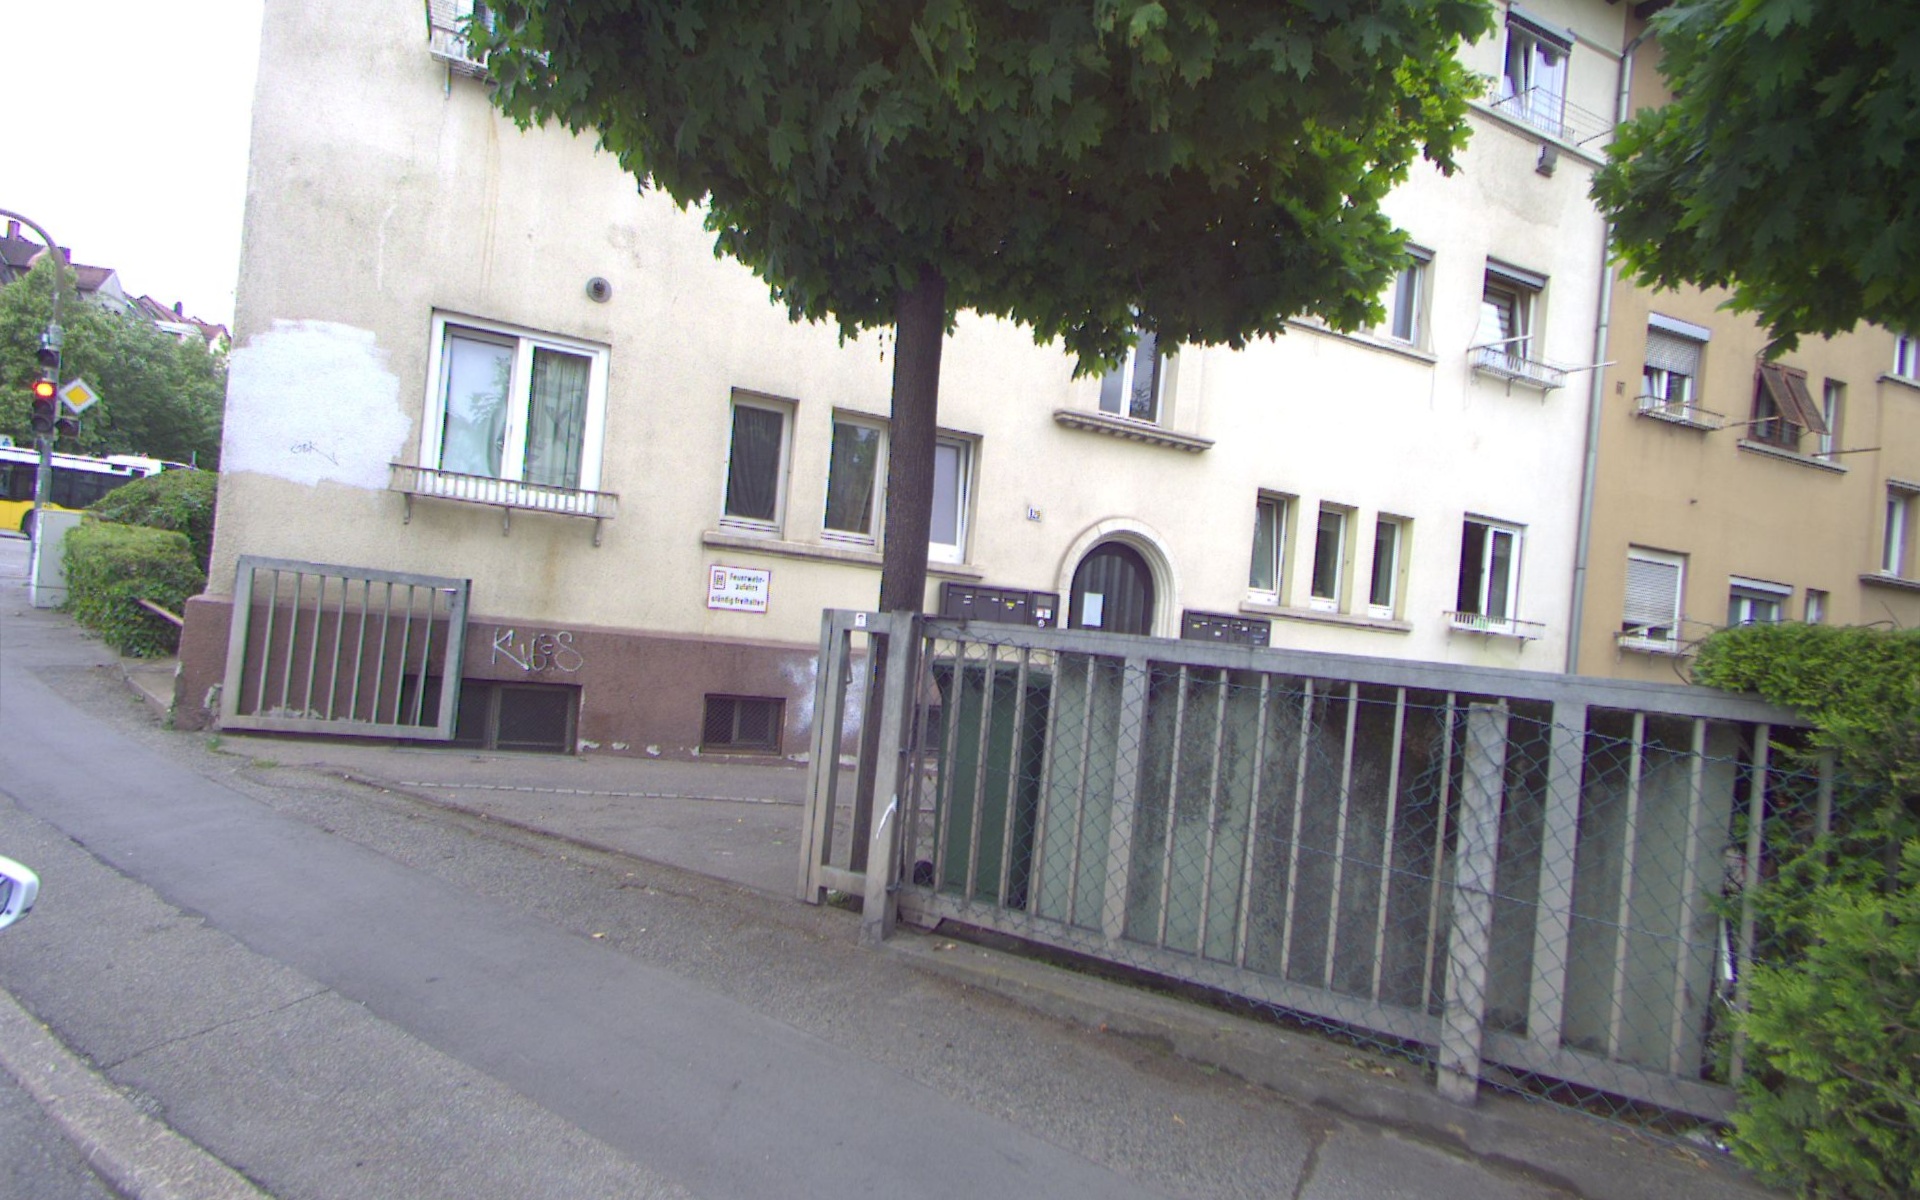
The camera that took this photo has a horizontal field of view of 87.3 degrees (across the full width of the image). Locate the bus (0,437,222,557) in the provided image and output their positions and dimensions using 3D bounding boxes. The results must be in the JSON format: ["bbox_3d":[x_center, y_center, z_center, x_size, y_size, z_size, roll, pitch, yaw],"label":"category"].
[{"bbox_3d":[-31.811,-3.729,33.153,11.935,3.135,3.164,6,0,-6],"label":"bus"}]

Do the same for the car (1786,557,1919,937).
[{"bbox_3d":[5.546,0.790,3.793,3.381,1.477,1.700,6,-2,30],"label":"car"}]
